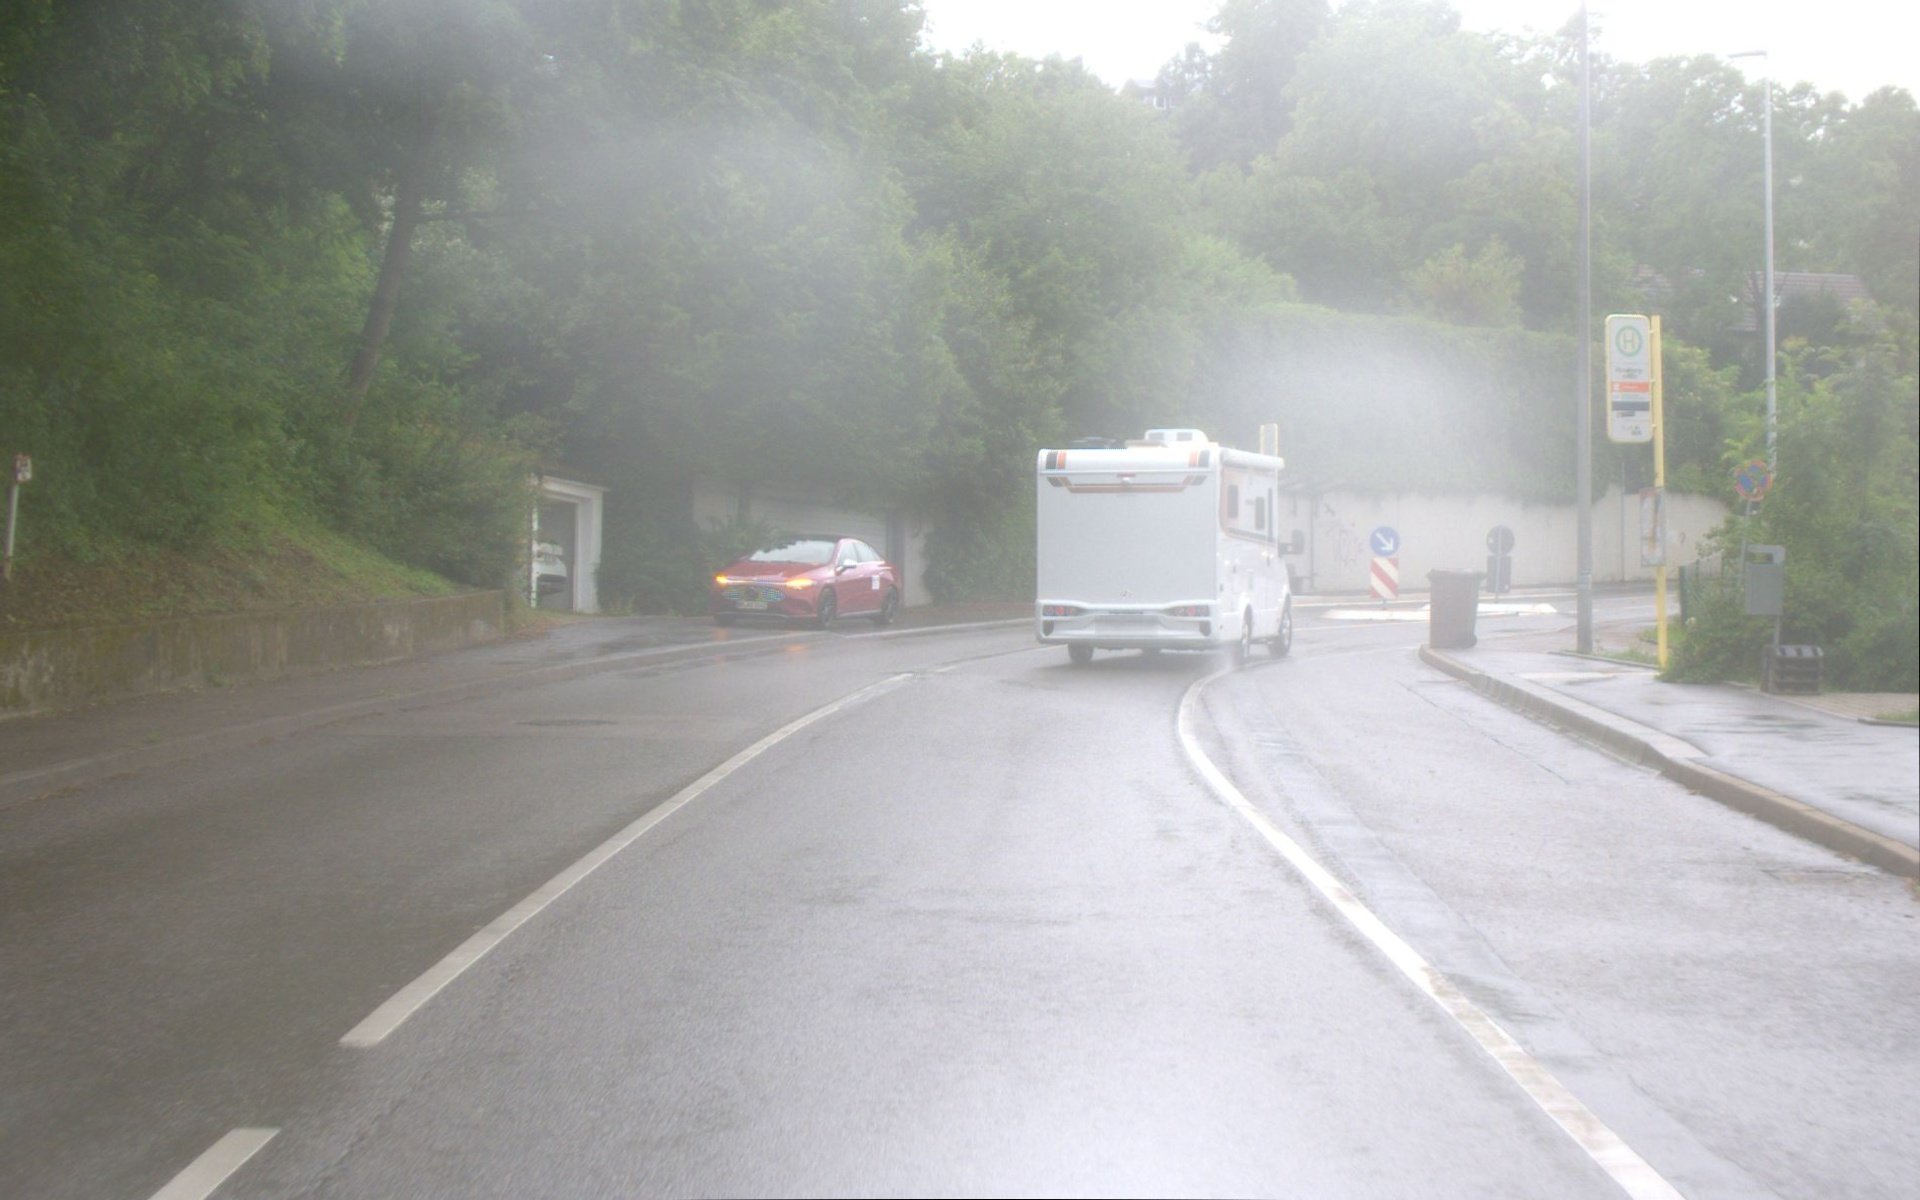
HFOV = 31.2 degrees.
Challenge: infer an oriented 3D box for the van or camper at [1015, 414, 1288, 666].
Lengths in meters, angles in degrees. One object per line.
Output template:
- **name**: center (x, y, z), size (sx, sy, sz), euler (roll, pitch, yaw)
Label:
- **van or camper**: center (2.535, -0.776, 43.597), size (2.541, 2.915, 5.945), euler (2, 1, 12)

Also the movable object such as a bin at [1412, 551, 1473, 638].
- **movable object such as a bin**: center (6.446, -0.081, 45.920), size (0.778, 1.129, 0.738), euler (1, 1, 9)

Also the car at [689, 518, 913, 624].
- **car**: center (-2.459, -0.498, 54.574), size (1.995, 1.556, 4.649), euler (2, 2, 18)

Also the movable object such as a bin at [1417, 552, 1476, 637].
- **movable object such as a bin**: center (6.682, -0.080, 47.185), size (0.778, 1.129, 0.738), euler (1, 1, 9)

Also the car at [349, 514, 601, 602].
- **car**: center (-8.534, -0.764, 60.549), size (3.990, 1.498, 1.877), euler (1, 2, 18)
